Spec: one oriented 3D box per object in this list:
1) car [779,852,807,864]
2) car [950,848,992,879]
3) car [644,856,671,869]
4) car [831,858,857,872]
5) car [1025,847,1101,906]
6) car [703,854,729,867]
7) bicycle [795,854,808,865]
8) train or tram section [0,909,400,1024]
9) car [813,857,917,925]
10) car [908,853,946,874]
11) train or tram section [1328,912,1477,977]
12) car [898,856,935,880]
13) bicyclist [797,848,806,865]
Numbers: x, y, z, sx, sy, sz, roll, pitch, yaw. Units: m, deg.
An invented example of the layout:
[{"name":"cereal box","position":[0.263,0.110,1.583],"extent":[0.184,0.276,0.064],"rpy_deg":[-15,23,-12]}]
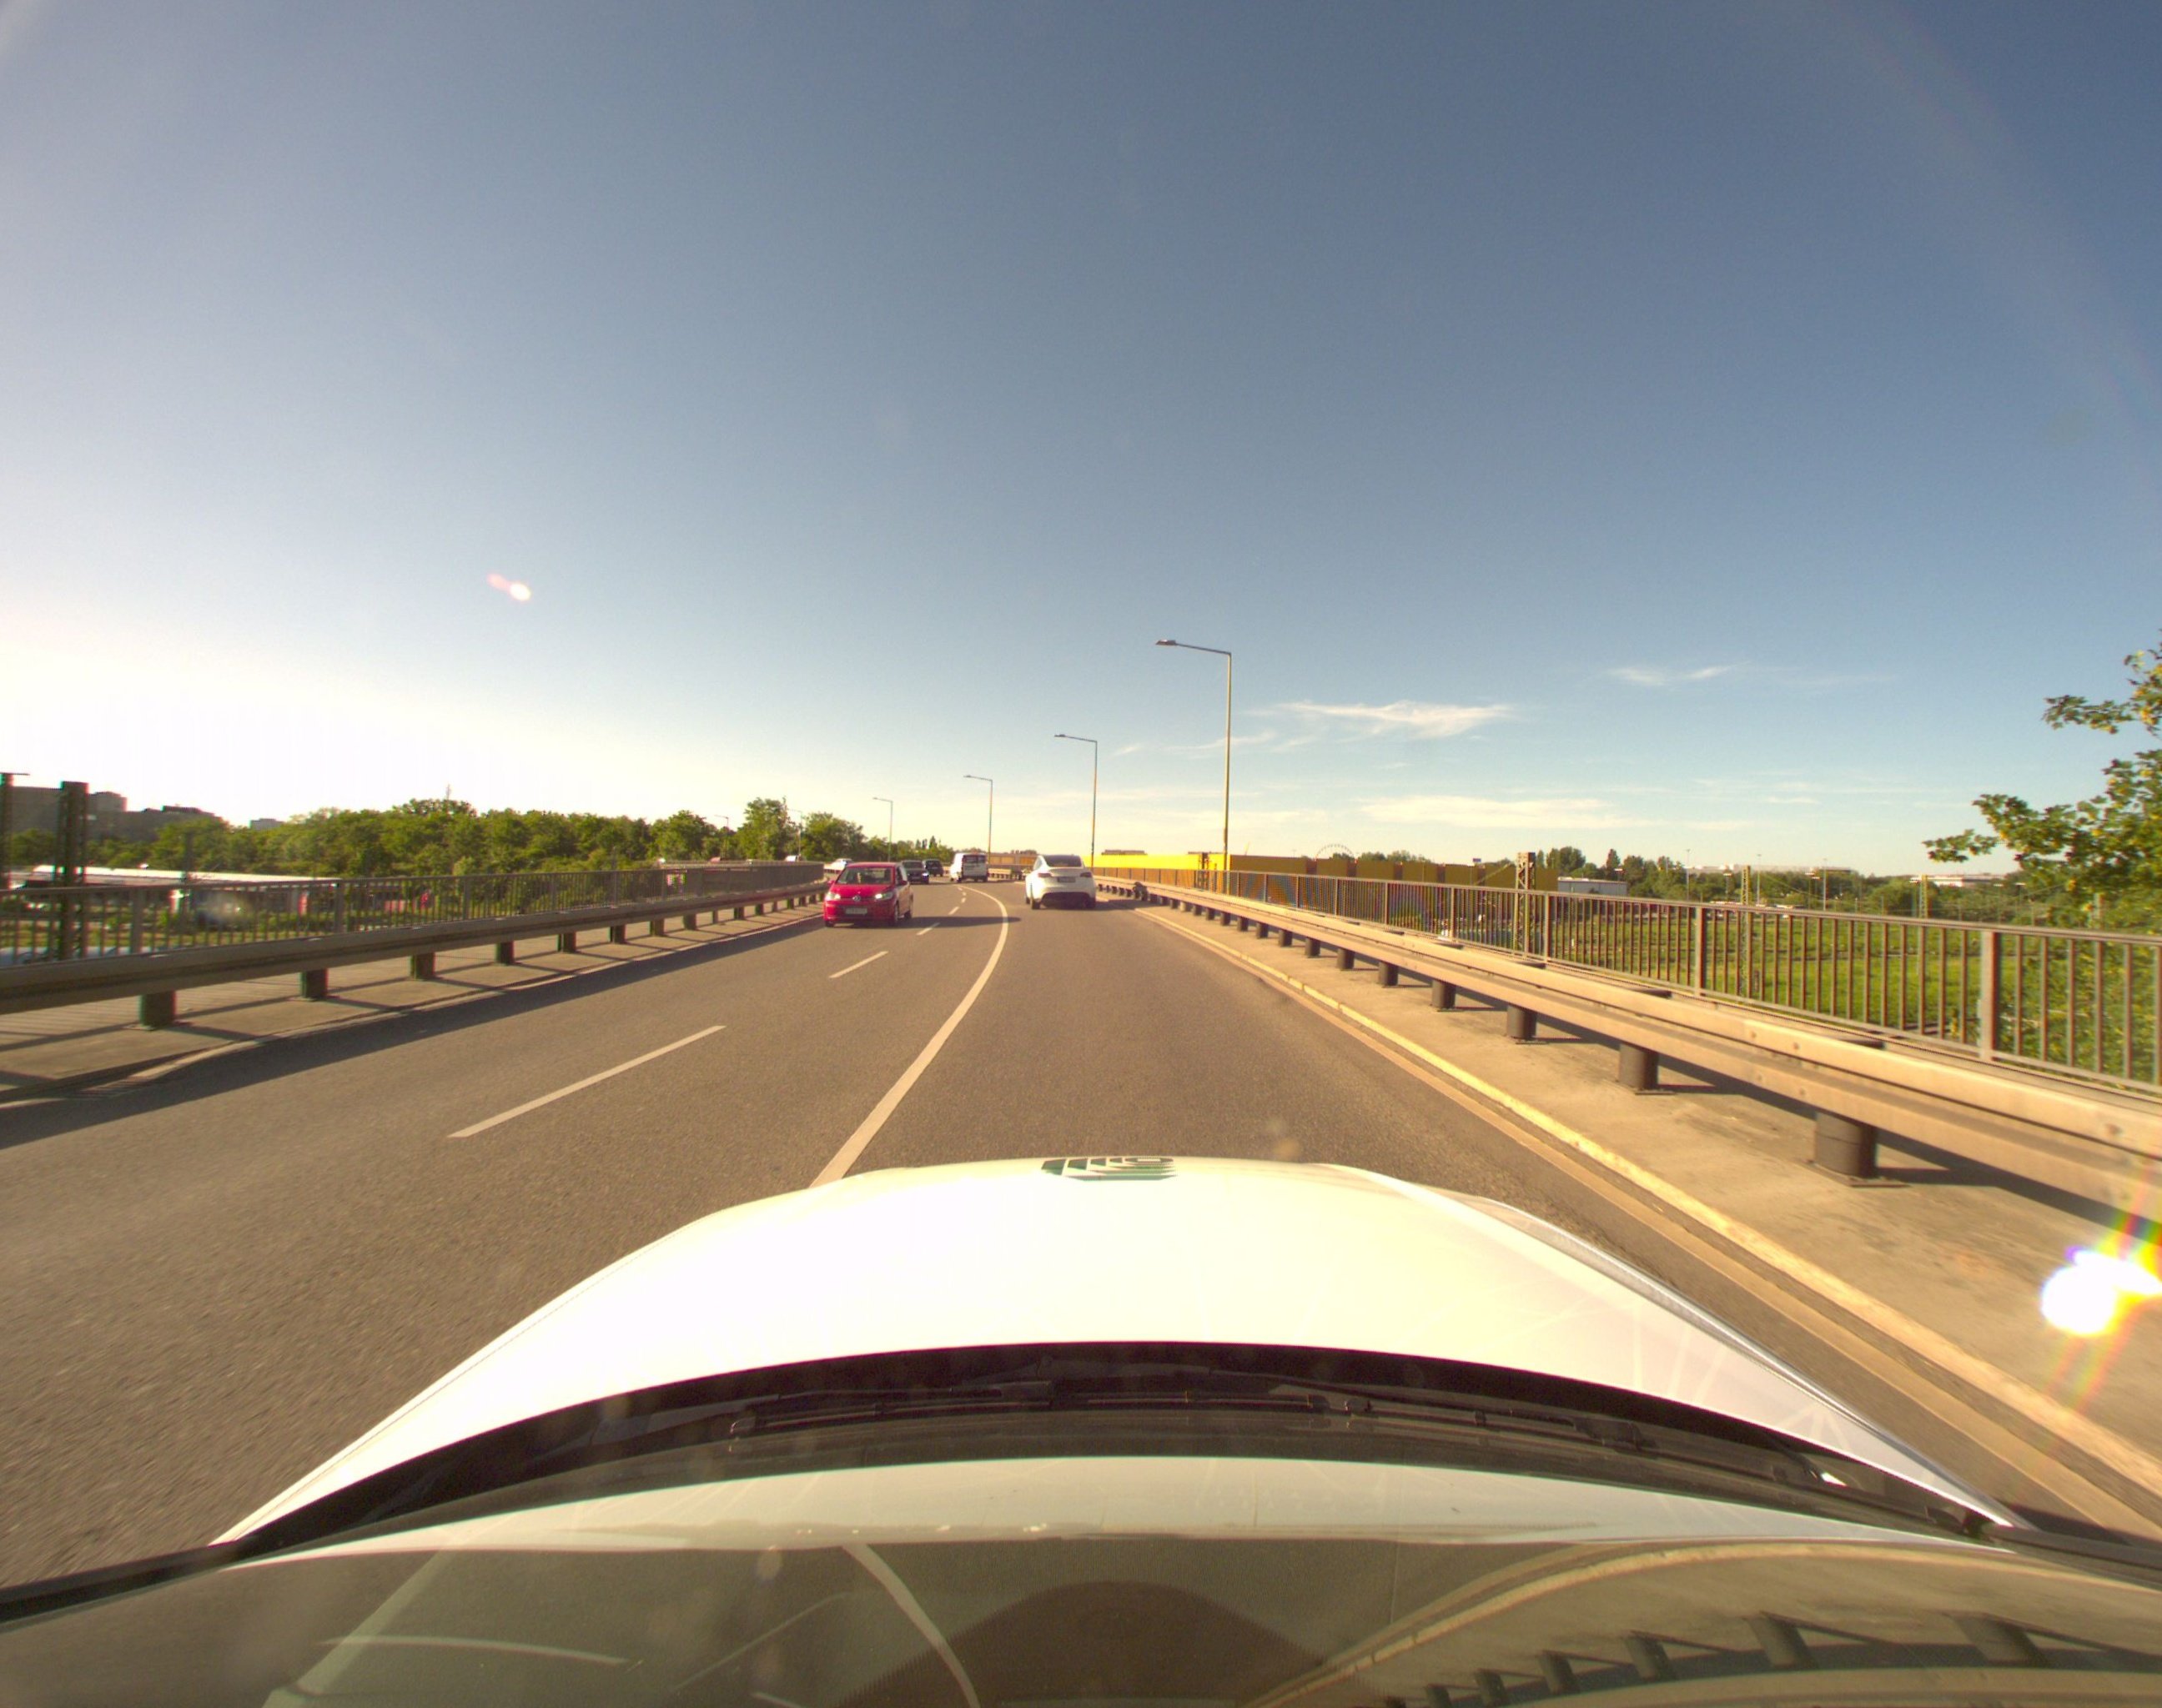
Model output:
[{"name":"car","position":[-37.997,0.563,107.455],"extent":[3.843,1.555,1.853],"rpy_deg":[0,0,40]},{"name":"car","position":[-7.218,0.591,53.037],"extent":[2.010,1.940,4.441],"rpy_deg":[0,0,-17]},{"name":"car","position":[-66.672,1.371,128.257],"extent":[3.948,1.950,1.975],"rpy_deg":[0,0,32]},{"name":"car","position":[-27.313,1.261,93.899],"extent":[1.872,1.585,3.874],"rpy_deg":[0,0,-33]},{"name":"car","position":[-0.638,0.659,25.328],"extent":[1.983,1.638,4.053],"rpy_deg":[-1,0,-6]},{"name":"car","position":[-55.776,1.013,124.328],"extent":[3.948,1.950,1.975],"rpy_deg":[0,0,37]},{"name":"bicycle","position":[-26.832,0.552,78.208],"extent":[0.658,1.065,1.870],"rpy_deg":[0,0,-35]},{"name":"train or tram section","position":[-46.141,5.536,41.713],"extent":[16.800,4.591,3.873],"rpy_deg":[0,0,-26]},{"name":"car","position":[-5.134,0.818,19.822],"extent":[1.779,1.437,3.868],"rpy_deg":[-1,0,-5]},{"name":"car","position":[-12.835,0.758,67.721],"extent":[1.980,1.638,3.963],"rpy_deg":[-1,0,-29]},{"name":"train or tram section","position":[32.373,8.863,81.512],"extent":[16.912,5.261,3.309],"rpy_deg":[0,0,-26]},{"name":"car","position":[-10.154,0.823,50.042],"extent":[1.877,1.439,4.297],"rpy_deg":[0,0,-16]},{"name":"bicyclist","position":[-26.808,0.257,78.174],"extent":[0.658,1.589,0.760],"rpy_deg":[0,0,-35]}]
